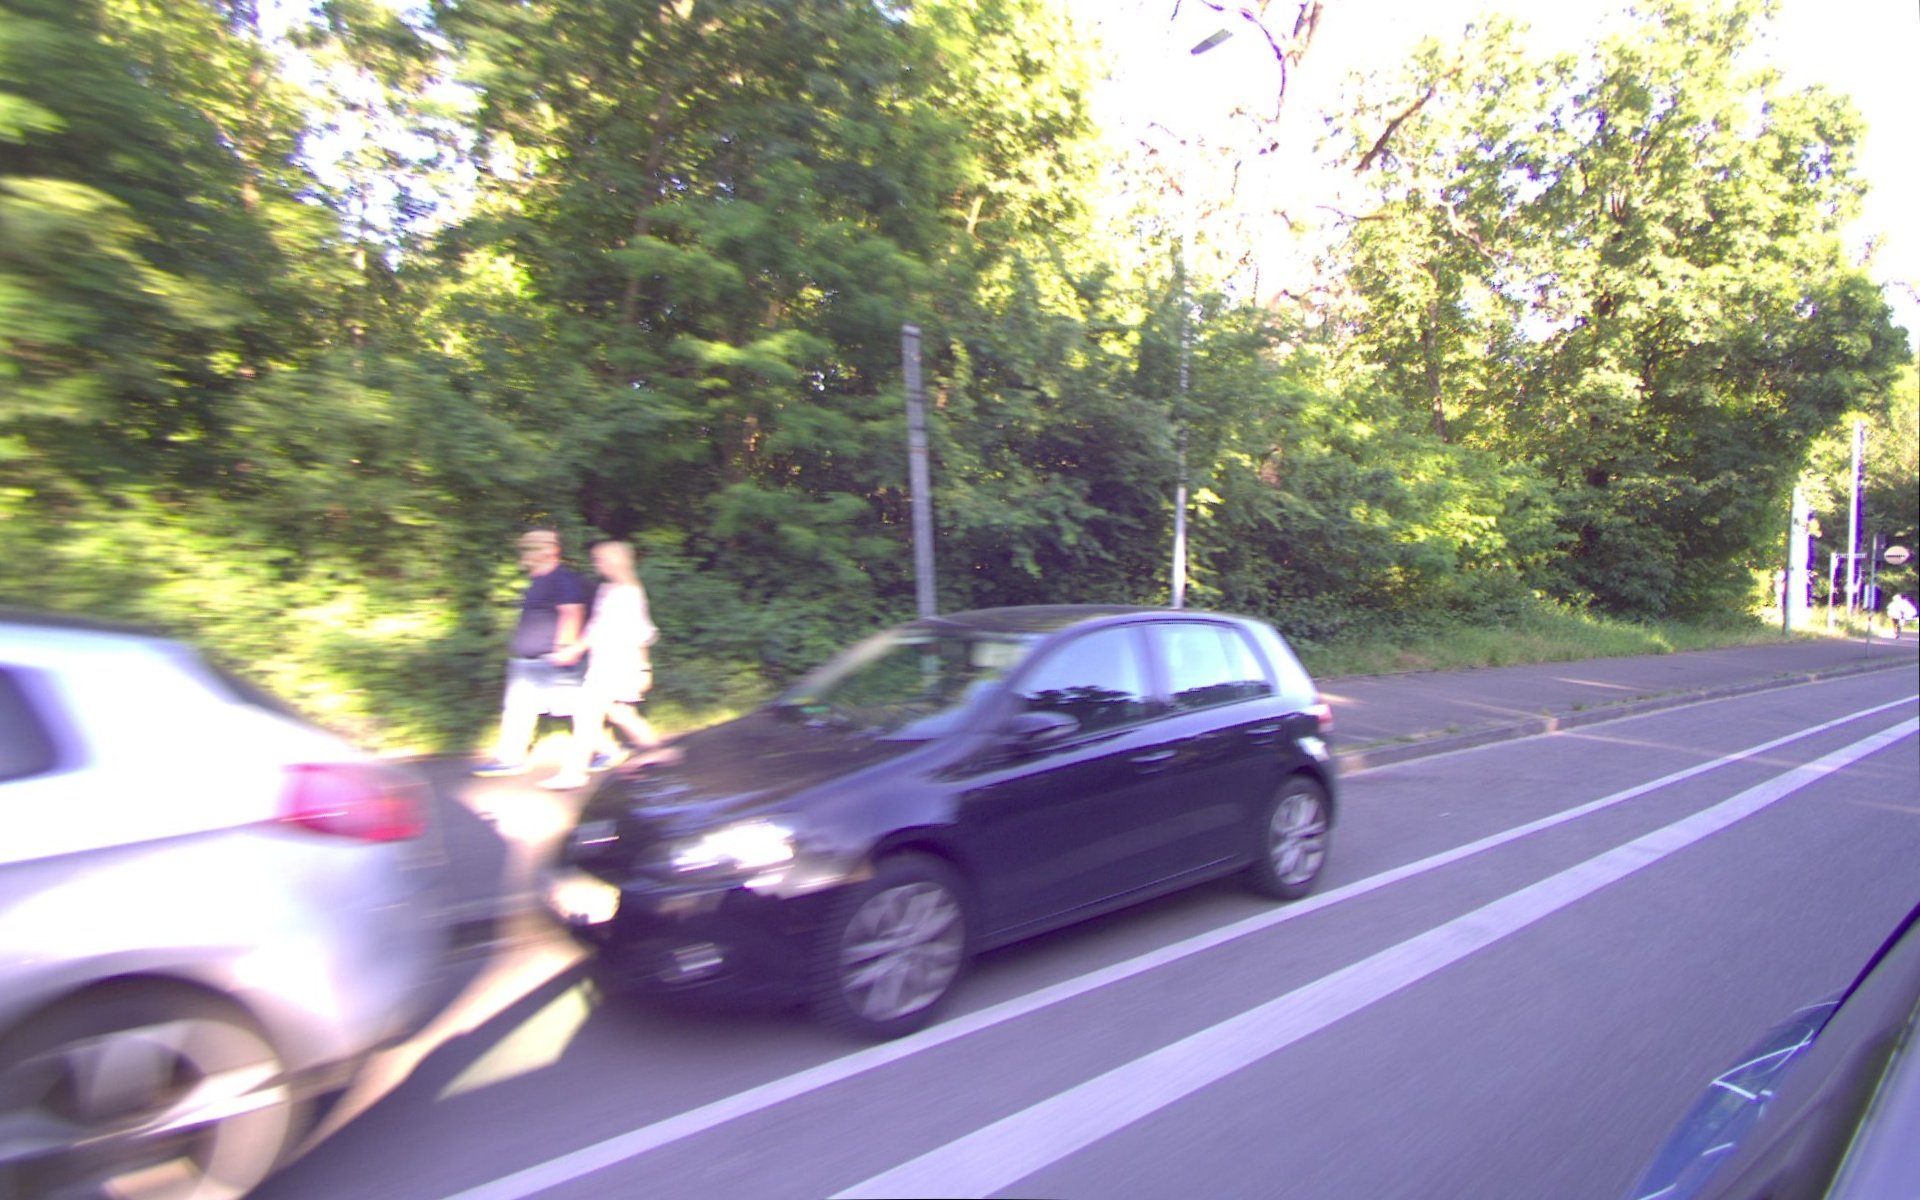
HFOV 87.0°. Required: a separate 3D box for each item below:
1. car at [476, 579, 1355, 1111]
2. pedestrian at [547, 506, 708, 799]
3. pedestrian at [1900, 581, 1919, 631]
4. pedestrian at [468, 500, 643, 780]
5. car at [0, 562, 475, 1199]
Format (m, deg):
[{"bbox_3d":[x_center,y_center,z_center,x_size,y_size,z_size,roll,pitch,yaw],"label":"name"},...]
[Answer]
[{"bbox_3d":[0.072,0.684,4.741,3.949,1.470,1.659,0,-1,-41],"label":"car"},{"bbox_3d":[-2.229,0.310,6.781,0.776,1.821,0.676,0,3,-42],"label":"pedestrian"},{"bbox_3d":[35.742,0.224,37.798,0.720,1.822,0.809,0,1,-38],"label":"pedestrian"},{"bbox_3d":[-2.853,0.241,7.146,0.937,1.821,0.676,0,3,-43],"label":"pedestrian"},{"bbox_3d":[-3.435,0.678,1.874,4.282,1.544,1.741,0,2,-40],"label":"car"}]
